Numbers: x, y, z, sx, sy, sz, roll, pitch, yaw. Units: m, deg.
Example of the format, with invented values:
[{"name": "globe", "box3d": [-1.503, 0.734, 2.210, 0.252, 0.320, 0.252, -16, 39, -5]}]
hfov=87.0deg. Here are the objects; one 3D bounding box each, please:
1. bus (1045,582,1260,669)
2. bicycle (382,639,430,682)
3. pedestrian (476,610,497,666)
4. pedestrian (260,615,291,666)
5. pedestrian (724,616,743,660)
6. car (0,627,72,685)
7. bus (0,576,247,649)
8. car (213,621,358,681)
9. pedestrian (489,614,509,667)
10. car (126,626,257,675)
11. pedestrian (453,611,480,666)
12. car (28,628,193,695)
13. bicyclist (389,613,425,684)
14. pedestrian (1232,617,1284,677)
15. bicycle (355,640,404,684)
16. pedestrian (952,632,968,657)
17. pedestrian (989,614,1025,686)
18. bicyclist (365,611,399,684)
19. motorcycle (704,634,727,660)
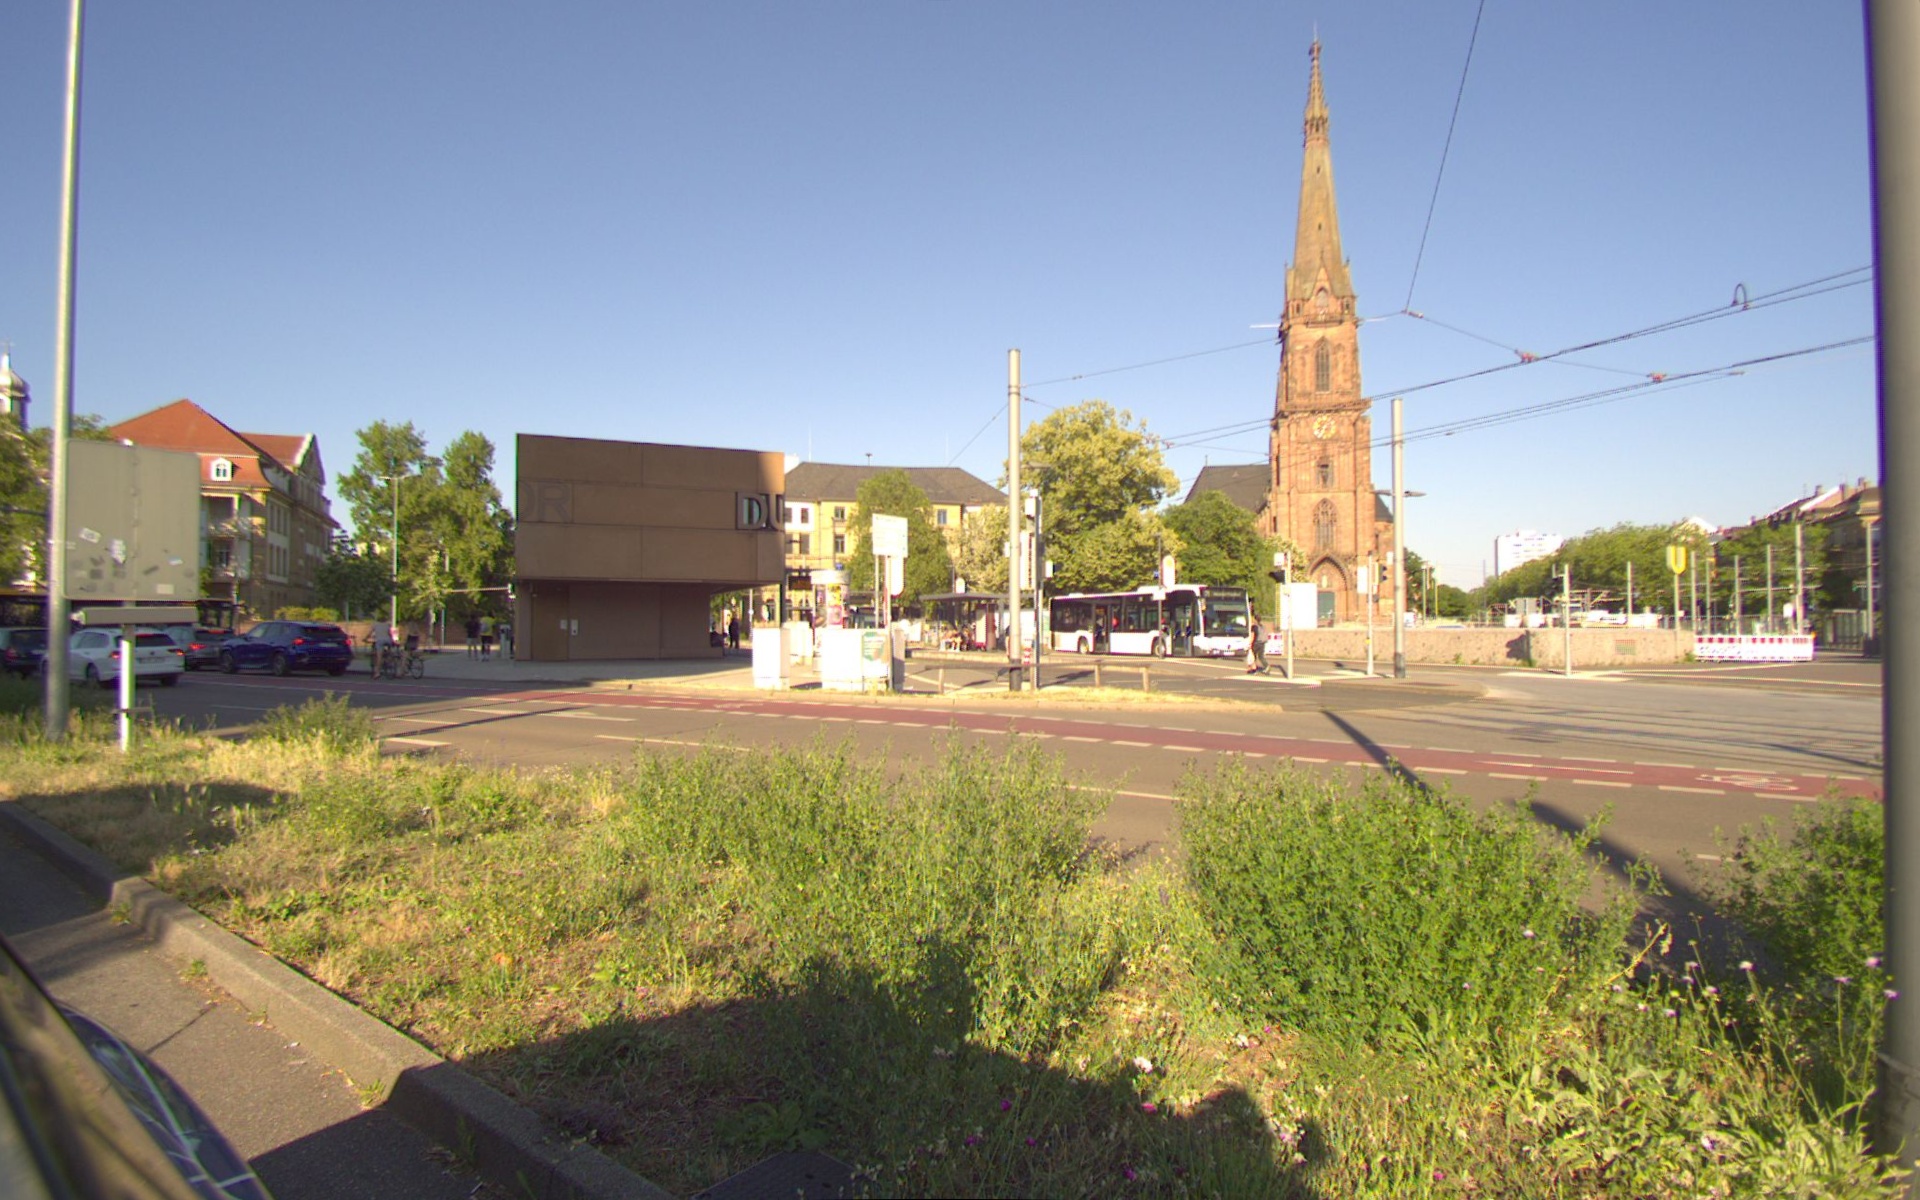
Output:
[{"name": "bus", "box3d": [7.707, 0.965, 43.350, 2.655, 3.174, 12.216, -1, 0, -23]}, {"name": "bicycle", "box3d": [-15.980, 1.736, 29.204, 1.388, 1.201, 0.461, -1, 0, 24]}, {"name": "pedestrian", "box3d": [-17.332, 1.380, 37.016, 0.645, 2.029, 0.470, -1, 0, -29]}, {"name": "pedestrian", "box3d": [-26.055, 1.528, 38.528, 0.787, 1.911, 0.612, 0, -2, -9]}, {"name": "pedestrian", "box3d": [-10.704, 1.794, 47.850, 0.762, 2.029, 0.778, -1, 0, -2]}, {"name": "car", "box3d": [-26.920, 1.527, 28.509, 4.174, 1.471, 1.738, -1, 0, 32]}, {"name": "bus", "box3d": [-42.575, 0.564, 50.129, 3.063, 3.236, 12.466, -1, 0, 19]}, {"name": "car", "box3d": [-20.042, 1.468, 30.076, 4.166, 1.703, 1.741, -1, -1, 26]}, {"name": "pedestrian", "box3d": [-18.057, 1.577, 39.644, 0.645, 2.029, 0.470, -1, 0, -29]}, {"name": "car", "box3d": [-25.169, 1.650, 33.115, 4.375, 1.503, 1.831, -1, -4, 30]}, {"name": "pedestrian", "box3d": [-18.779, 1.452, 38.495, 0.765, 2.029, 0.775, -1, 0, -37]}, {"name": "car", "box3d": [-21.496, 1.487, 25.575, 4.375, 1.503, 1.831, -1, 0, 30]}, {"name": "bicyclist", "box3d": [-15.950, 1.392, 29.182, 0.705, 2.029, 0.605, -1, -2, 25]}, {"name": "pedestrian", "box3d": [8.719, 1.357, 29.616, 1.025, 1.696, 1.007, -1, 0, -25]}, {"name": "bicycle", "box3d": [-16.401, 1.741, 28.574, 1.388, 1.201, 0.461, -1, 0, 24]}, {"name": "pedestrian", "box3d": [-0.003, 2.191, 49.990, 0.531, 1.196, 0.660, -1, 0, -21]}, {"name": "pedestrian", "box3d": [1.193, 1.261, 25.746, 0.702, 1.771, 0.584, -1, 0, -30]}, {"name": "bicyclist", "box3d": [-16.321, 1.333, 28.570, 0.562, 2.029, 0.605, -1, -2, 25]}, {"name": "motorcycle", "box3d": [-10.155, 1.955, 42.059, 0.935, 1.075, 0.331, -1, 0, -11]}]
